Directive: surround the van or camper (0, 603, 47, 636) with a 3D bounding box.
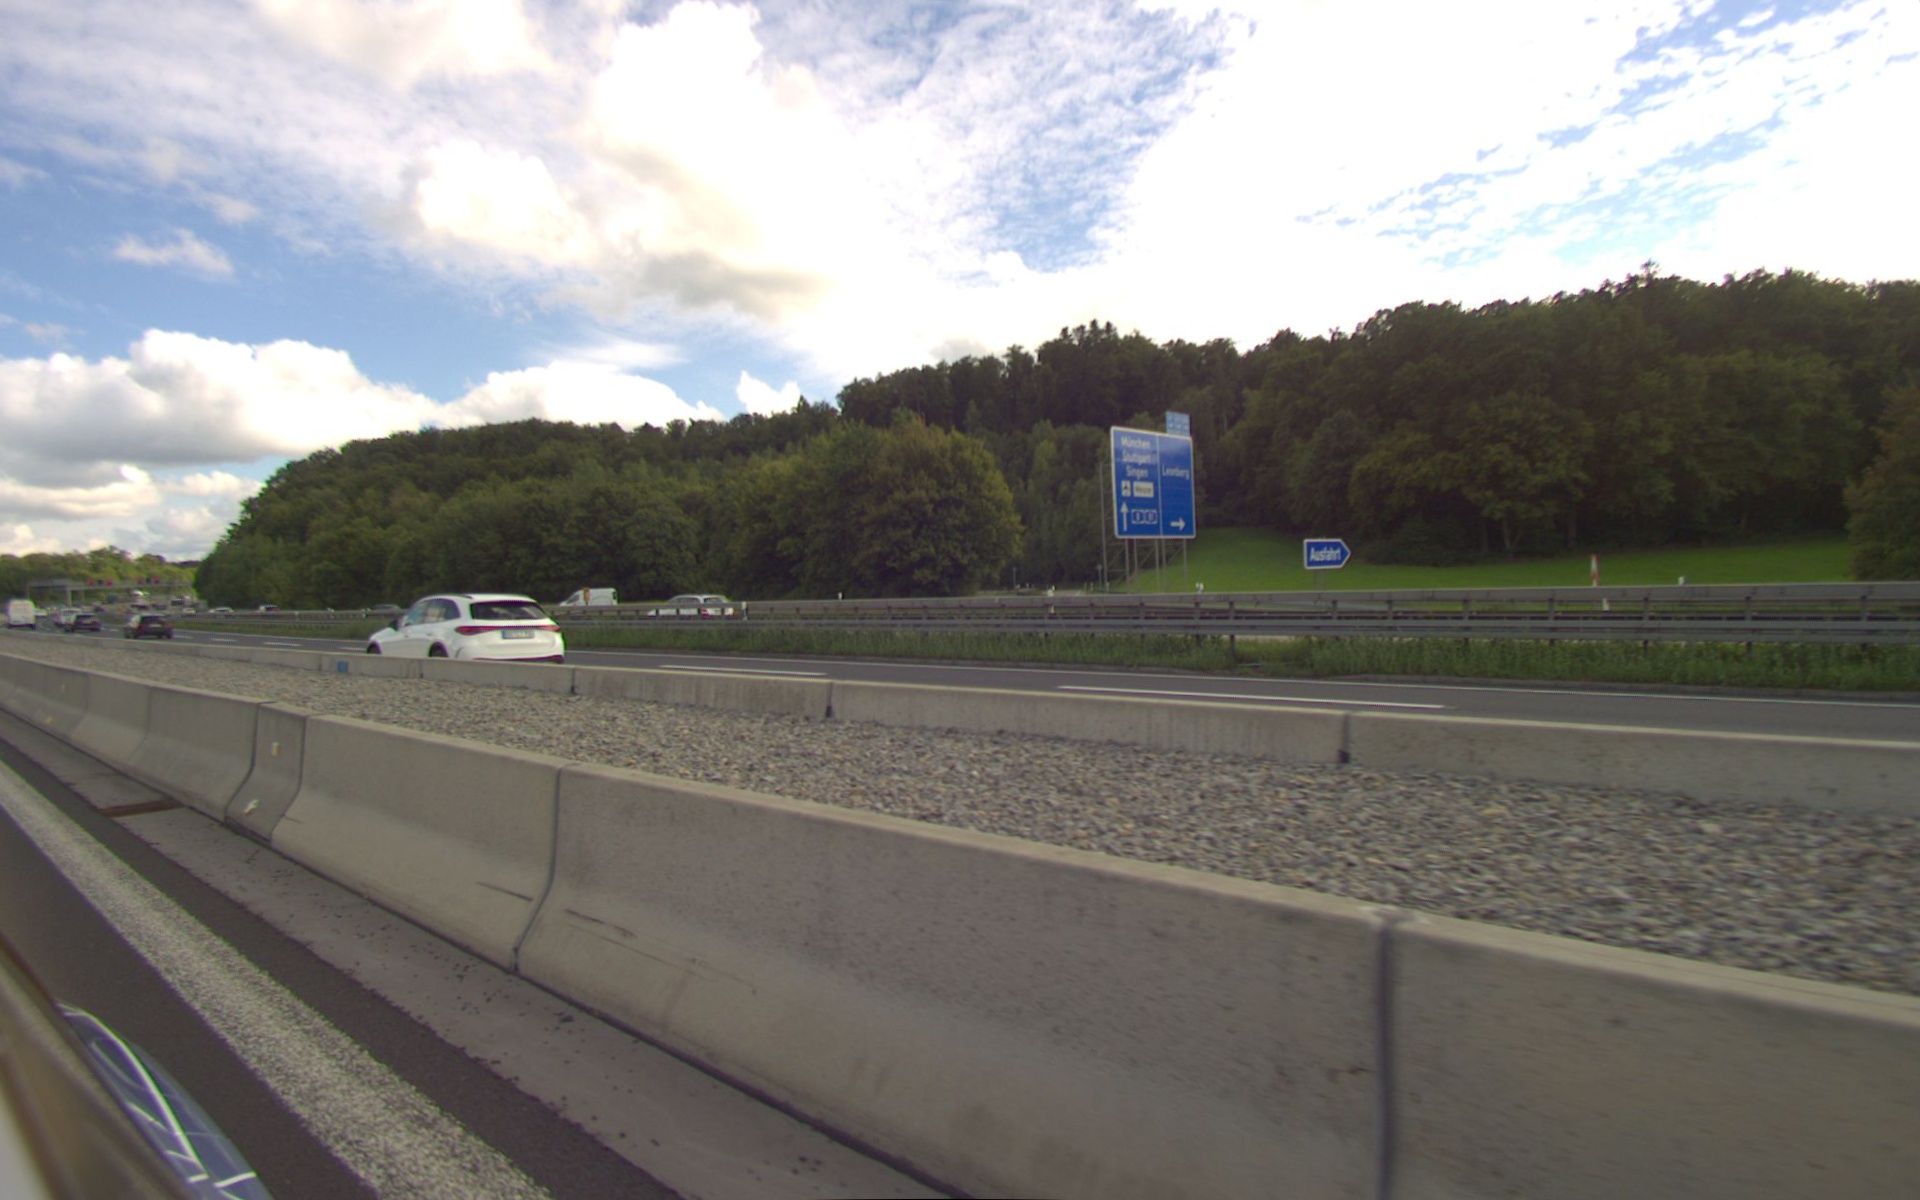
[{"bbox_3d":[-88.687,1.826,95.396,7.467,2.938,3.298,-1,0,44],"label":"van or camper"}]

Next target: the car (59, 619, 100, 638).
[{"bbox_3d":[-71.483,2.290,82.096,5.234,1.432,1.864,-1,-1,42],"label":"car"}]

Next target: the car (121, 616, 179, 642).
[{"bbox_3d":[-47.877,1.697,59.781,4.993,1.428,1.766,-1,0,41],"label":"car"}]

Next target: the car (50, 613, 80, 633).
[{"bbox_3d":[-92.092,2.345,104.078,5.288,1.920,1.893,-1,-1,44],"label":"car"}]

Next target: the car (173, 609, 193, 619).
[{"bbox_3d":[-127.375,2.312,165.927,4.624,1.442,1.763,-1,0,42],"label":"car"}]

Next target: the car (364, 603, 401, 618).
[{"bbox_3d":[-58.189,1.077,102.035,4.298,1.461,1.710,-1,0,38],"label":"car"}]

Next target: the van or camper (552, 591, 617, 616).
[{"bbox_3d":[-36.749,0.366,99.271,5.641,2.266,2.110,-2,0,-8],"label":"van or camper"}]

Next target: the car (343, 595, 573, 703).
[{"bbox_3d":[-8.894,0.759,17.698,5.134,1.623,1.823,-1,0,42],"label":"car"}]

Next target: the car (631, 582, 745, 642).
[{"bbox_3d":[-11.050,0.487,40.925,5.145,2.250,1.972,-1,0,42],"label":"car"}]

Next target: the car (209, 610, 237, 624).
[{"bbox_3d":[-75.975,1.731,104.300,3.756,1.330,1.620,-1,1,42],"label":"car"}]

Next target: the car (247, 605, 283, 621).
[{"bbox_3d":[-82.152,1.486,119.636,5.243,1.784,2.368,-1,0,43],"label":"car"}]

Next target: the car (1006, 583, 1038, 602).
[{"bbox_3d":[5.215,-0.621,85.951,1.693,1.597,4.010,-1,0,-12],"label":"car"}]
